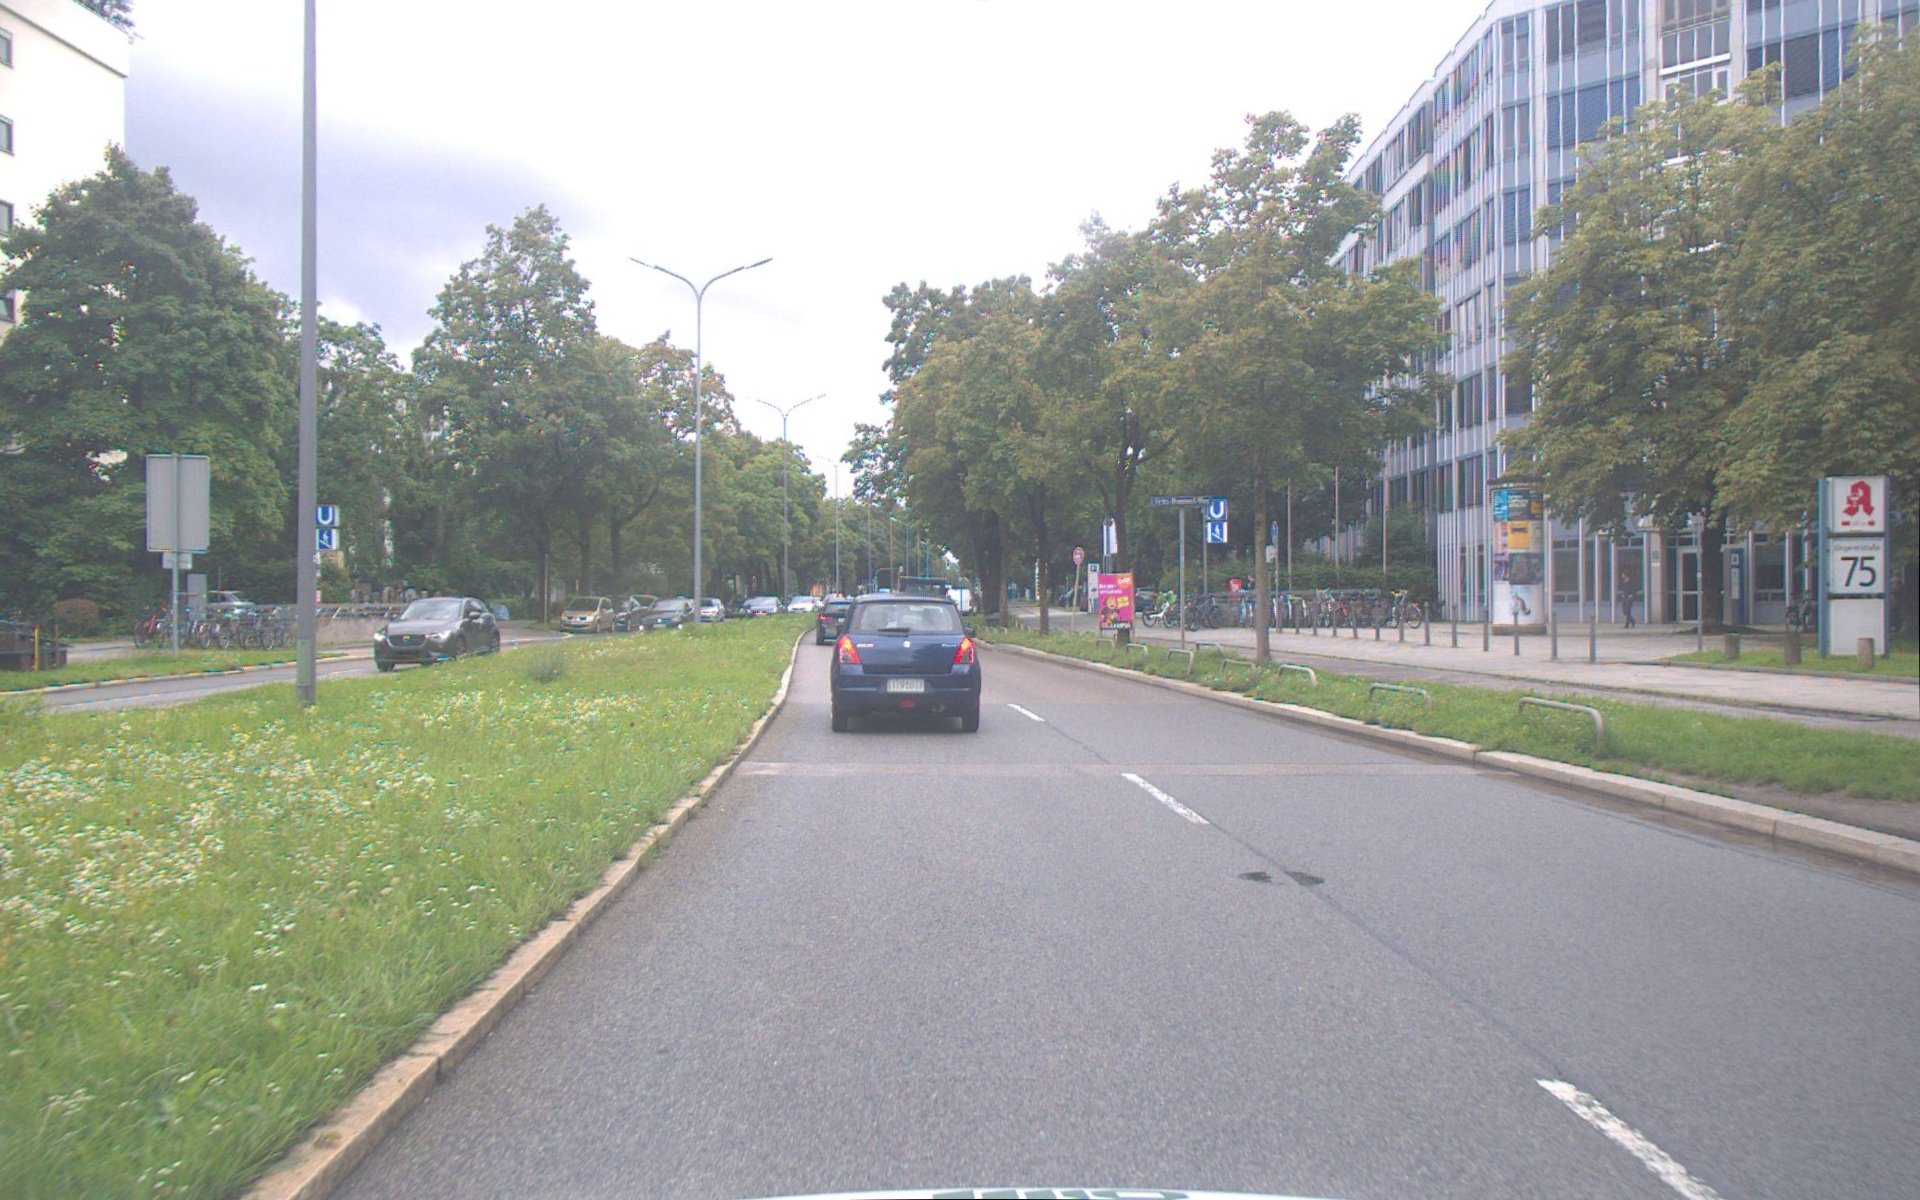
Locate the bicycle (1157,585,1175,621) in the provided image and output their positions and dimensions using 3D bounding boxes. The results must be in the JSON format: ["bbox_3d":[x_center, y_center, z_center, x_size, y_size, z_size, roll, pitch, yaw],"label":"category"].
[{"bbox_3d":[7.629,0.102,61.158,0.519,1.248,1.863,-3,2,5],"label":"bicycle"}]

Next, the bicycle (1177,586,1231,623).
[{"bbox_3d":[7.985,0.139,54.112,2.026,1.108,0.595,-3,-1,-45],"label":"bicycle"}]

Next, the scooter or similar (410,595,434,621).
[{"bbox_3d":[-24.153,0.363,74.257,0.426,1.146,1.291,-1,0,13],"label":"scooter or similar"}]

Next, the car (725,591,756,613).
[{"bbox_3d":[-15.620,0.102,117.685,1.548,1.448,4.363,2,0,0],"label":"car"}]

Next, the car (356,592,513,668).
[{"bbox_3d":[-11.291,0.603,35.854,1.917,1.506,4.260,-1,0,1],"label":"car"}]

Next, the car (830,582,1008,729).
[{"bbox_3d":[-0.495,0.572,19.303,1.858,1.525,3.658,1,0,-2],"label":"car"}]

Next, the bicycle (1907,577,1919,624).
[{"bbox_3d":[26.795,0.016,44.957,0.542,1.282,2.170,-1,0,-10],"label":"bicycle"}]

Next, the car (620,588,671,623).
[{"bbox_3d":[-15.988,0.255,84.296,1.703,1.680,4.606,2,0,-1],"label":"car"}]

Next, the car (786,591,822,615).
[{"bbox_3d":[-10.325,0.173,109.679,1.876,1.510,4.864,-1,0,0],"label":"car"}]

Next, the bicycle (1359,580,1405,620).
[{"bbox_3d":[13.183,-0.020,51.691,0.566,1.209,2.137,-1,0,-10],"label":"bicycle"}]

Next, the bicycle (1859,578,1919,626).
[{"bbox_3d":[25.474,0.048,45.131,0.499,1.282,2.018,-1,0,-10],"label":"bicycle"}]

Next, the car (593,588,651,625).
[{"bbox_3d":[-16.015,0.295,78.555,1.703,1.672,4.685,1,0,1],"label":"car"}]

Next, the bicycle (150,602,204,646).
[{"bbox_3d":[-21.389,0.637,45.223,0.399,1.123,1.955,3,1,3],"label":"bicycle"}]

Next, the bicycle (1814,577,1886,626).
[{"bbox_3d":[24.102,0.034,44.825,0.499,1.282,2.170,-1,0,-10],"label":"bicycle"}]

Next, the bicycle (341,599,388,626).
[{"bbox_3d":[-24.047,0.504,66.777,1.726,1.024,0.436,-1,0,0],"label":"bicycle"}]

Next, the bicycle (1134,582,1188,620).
[{"bbox_3d":[7.099,0.035,58.388,1.931,1.209,0.590,-5,2,-34],"label":"bicycle"}]

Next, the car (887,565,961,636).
[{"bbox_3d":[-1.274,-0.003,61.323,2.368,2.487,5.088,1,0,2],"label":"car"}]

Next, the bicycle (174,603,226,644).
[{"bbox_3d":[-20.817,0.645,45.341,0.399,1.048,1.955,3,1,3],"label":"bicycle"}]

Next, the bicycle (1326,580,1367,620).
[{"bbox_3d":[12.010,0.005,51.424,0.437,1.209,2.137,-1,0,-10],"label":"bicycle"}]

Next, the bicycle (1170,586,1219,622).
[{"bbox_3d":[8.014,0.119,56.521,1.940,1.102,0.587,-5,3,-45],"label":"bicycle"}]

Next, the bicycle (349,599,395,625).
[{"bbox_3d":[-24.282,0.499,68.276,1.726,1.024,0.436,-1,0,0],"label":"bicycle"}]

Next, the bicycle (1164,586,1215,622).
[{"bbox_3d":[7.627,0.126,54.994,1.940,1.084,0.571,-5,1,-45],"label":"bicycle"}]

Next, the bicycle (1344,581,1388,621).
[{"bbox_3d":[12.568,0.011,51.260,0.502,1.209,2.137,-1,0,-10],"label":"bicycle"}]

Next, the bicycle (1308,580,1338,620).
[{"bbox_3d":[11.328,-0.002,51.658,0.436,1.209,1.953,-1,0,-2],"label":"bicycle"}]

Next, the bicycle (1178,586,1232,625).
[{"bbox_3d":[7.801,0.158,52.620,0.571,1.118,2.018,-4,0,45],"label":"bicycle"}]

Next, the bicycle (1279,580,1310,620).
[{"bbox_3d":[10.481,-0.010,51.909,0.478,1.209,1.953,-1,0,-2],"label":"bicycle"}]

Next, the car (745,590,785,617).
[{"bbox_3d":[-10.654,0.178,90.575,1.657,1.426,3.967,-1,0,0],"label":"car"}]

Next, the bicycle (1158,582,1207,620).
[{"bbox_3d":[7.749,0.030,57.625,1.941,1.127,0.571,-7,4,-45],"label":"bicycle"}]

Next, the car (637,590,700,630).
[{"bbox_3d":[-11.105,0.360,63.227,1.746,1.430,4.101,-1,0,-1],"label":"car"}]

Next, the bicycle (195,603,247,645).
[{"bbox_3d":[-20.243,0.647,45.347,0.399,1.091,1.955,3,1,3],"label":"bicycle"}]

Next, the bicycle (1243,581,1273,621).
[{"bbox_3d":[9.320,0.031,51.808,0.478,1.209,1.953,-1,0,-2],"label":"bicycle"}]

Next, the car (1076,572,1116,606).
[{"bbox_3d":[9.720,-0.778,118.484,2.219,2.347,6.267,-1,0,-1],"label":"car"}]

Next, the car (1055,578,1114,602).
[{"bbox_3d":[11.643,-0.935,154.655,5.358,2.120,2.147,-1,0,0],"label":"car"}]

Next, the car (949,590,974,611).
[{"bbox_3d":[0.137,0.038,117.388,1.666,1.422,4.233,-1,0,1],"label":"car"}]

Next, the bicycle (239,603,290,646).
[{"bbox_3d":[-19.045,0.668,45.326,0.399,1.096,1.955,3,1,3],"label":"bicycle"}]

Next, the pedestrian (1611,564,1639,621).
[{"bbox_3d":[21.364,-0.238,53.159,0.672,1.803,0.770,-1,0,11],"label":"pedestrian"}]

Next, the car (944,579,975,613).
[{"bbox_3d":[-0.024,-0.266,111.164,1.946,2.195,5.556,-1,0,1],"label":"car"}]

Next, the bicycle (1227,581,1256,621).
[{"bbox_3d":[8.811,0.018,51.767,0.478,1.209,1.953,-1,0,-2],"label":"bicycle"}]

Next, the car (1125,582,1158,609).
[{"bbox_3d":[13.037,-0.347,119.032,1.804,1.850,4.471,-1,0,-1],"label":"car"}]

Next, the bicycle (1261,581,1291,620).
[{"bbox_3d":[9.890,0.006,51.827,0.478,1.209,1.953,-1,0,-2],"label":"bicycle"}]

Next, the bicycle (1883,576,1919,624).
[{"bbox_3d":[26.173,-0.010,45.232,0.499,1.282,1.950,-1,0,-10],"label":"bicycle"}]

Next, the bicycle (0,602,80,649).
[{"bbox_3d":[-24.260,0.668,43.531,1.907,1.122,0.489,3,1,4],"label":"bicycle"}]

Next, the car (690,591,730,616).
[{"bbox_3d":[-15.698,0.224,104.175,1.701,1.473,4.823,2,0,0],"label":"car"}]

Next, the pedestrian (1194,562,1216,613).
[{"bbox_3d":[9.365,-0.489,63.223,0.638,1.932,0.748,-1,0,-3],"label":"pedestrian"}]

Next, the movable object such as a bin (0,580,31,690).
[{"bbox_3d":[-18.359,0.655,28.943,2.150,1.987,3.996,-1,0,-5],"label":"movable object such as a bin"}]

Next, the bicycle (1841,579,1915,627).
[{"bbox_3d":[24.902,0.072,44.903,0.499,1.282,2.170,-1,0,-10],"label":"bicycle"}]

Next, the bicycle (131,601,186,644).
[{"bbox_3d":[-21.895,0.601,45.223,0.399,1.116,1.955,3,1,3],"label":"bicycle"}]

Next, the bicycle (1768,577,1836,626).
[{"bbox_3d":[22.878,0.040,44.982,0.595,1.282,2.052,-1,0,-7],"label":"bicycle"}]

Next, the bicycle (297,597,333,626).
[{"bbox_3d":[-25.765,0.445,66.124,0.566,1.118,2.032,-1,0,1],"label":"bicycle"}]

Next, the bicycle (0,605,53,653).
[{"bbox_3d":[-24.365,0.715,42.406,1.907,1.122,0.560,3,1,4],"label":"bicycle"}]

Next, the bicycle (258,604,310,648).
[{"bbox_3d":[-18.529,0.700,45.366,0.399,1.108,2.085,3,1,3],"label":"bicycle"}]

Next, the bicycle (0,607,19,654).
[{"bbox_3d":[-24.463,0.706,41.078,1.907,1.122,0.489,3,1,4],"label":"bicycle"}]

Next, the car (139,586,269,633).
[{"bbox_3d":[-27.400,0.320,60.021,3.904,1.616,1.749,-1,0,2],"label":"car"}]

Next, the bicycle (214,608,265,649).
[{"bbox_3d":[-19.709,0.770,45.289,0.399,1.058,1.955,3,1,3],"label":"bicycle"}]

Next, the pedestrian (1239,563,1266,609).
[{"bbox_3d":[11.227,-0.531,63.443,0.769,1.744,0.748,-1,0,35],"label":"pedestrian"}]

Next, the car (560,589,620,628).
[{"bbox_3d":[-16.247,0.332,72.738,1.613,1.642,3.820,1,0,2],"label":"car"}]

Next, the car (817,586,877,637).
[{"bbox_3d":[-3.593,0.340,52.071,1.764,1.525,3.656,-1,0,-6],"label":"car"}]

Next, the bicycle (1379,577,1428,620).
[{"bbox_3d":[13.906,-0.066,51.949,0.499,1.317,2.473,-1,0,-10],"label":"bicycle"}]
